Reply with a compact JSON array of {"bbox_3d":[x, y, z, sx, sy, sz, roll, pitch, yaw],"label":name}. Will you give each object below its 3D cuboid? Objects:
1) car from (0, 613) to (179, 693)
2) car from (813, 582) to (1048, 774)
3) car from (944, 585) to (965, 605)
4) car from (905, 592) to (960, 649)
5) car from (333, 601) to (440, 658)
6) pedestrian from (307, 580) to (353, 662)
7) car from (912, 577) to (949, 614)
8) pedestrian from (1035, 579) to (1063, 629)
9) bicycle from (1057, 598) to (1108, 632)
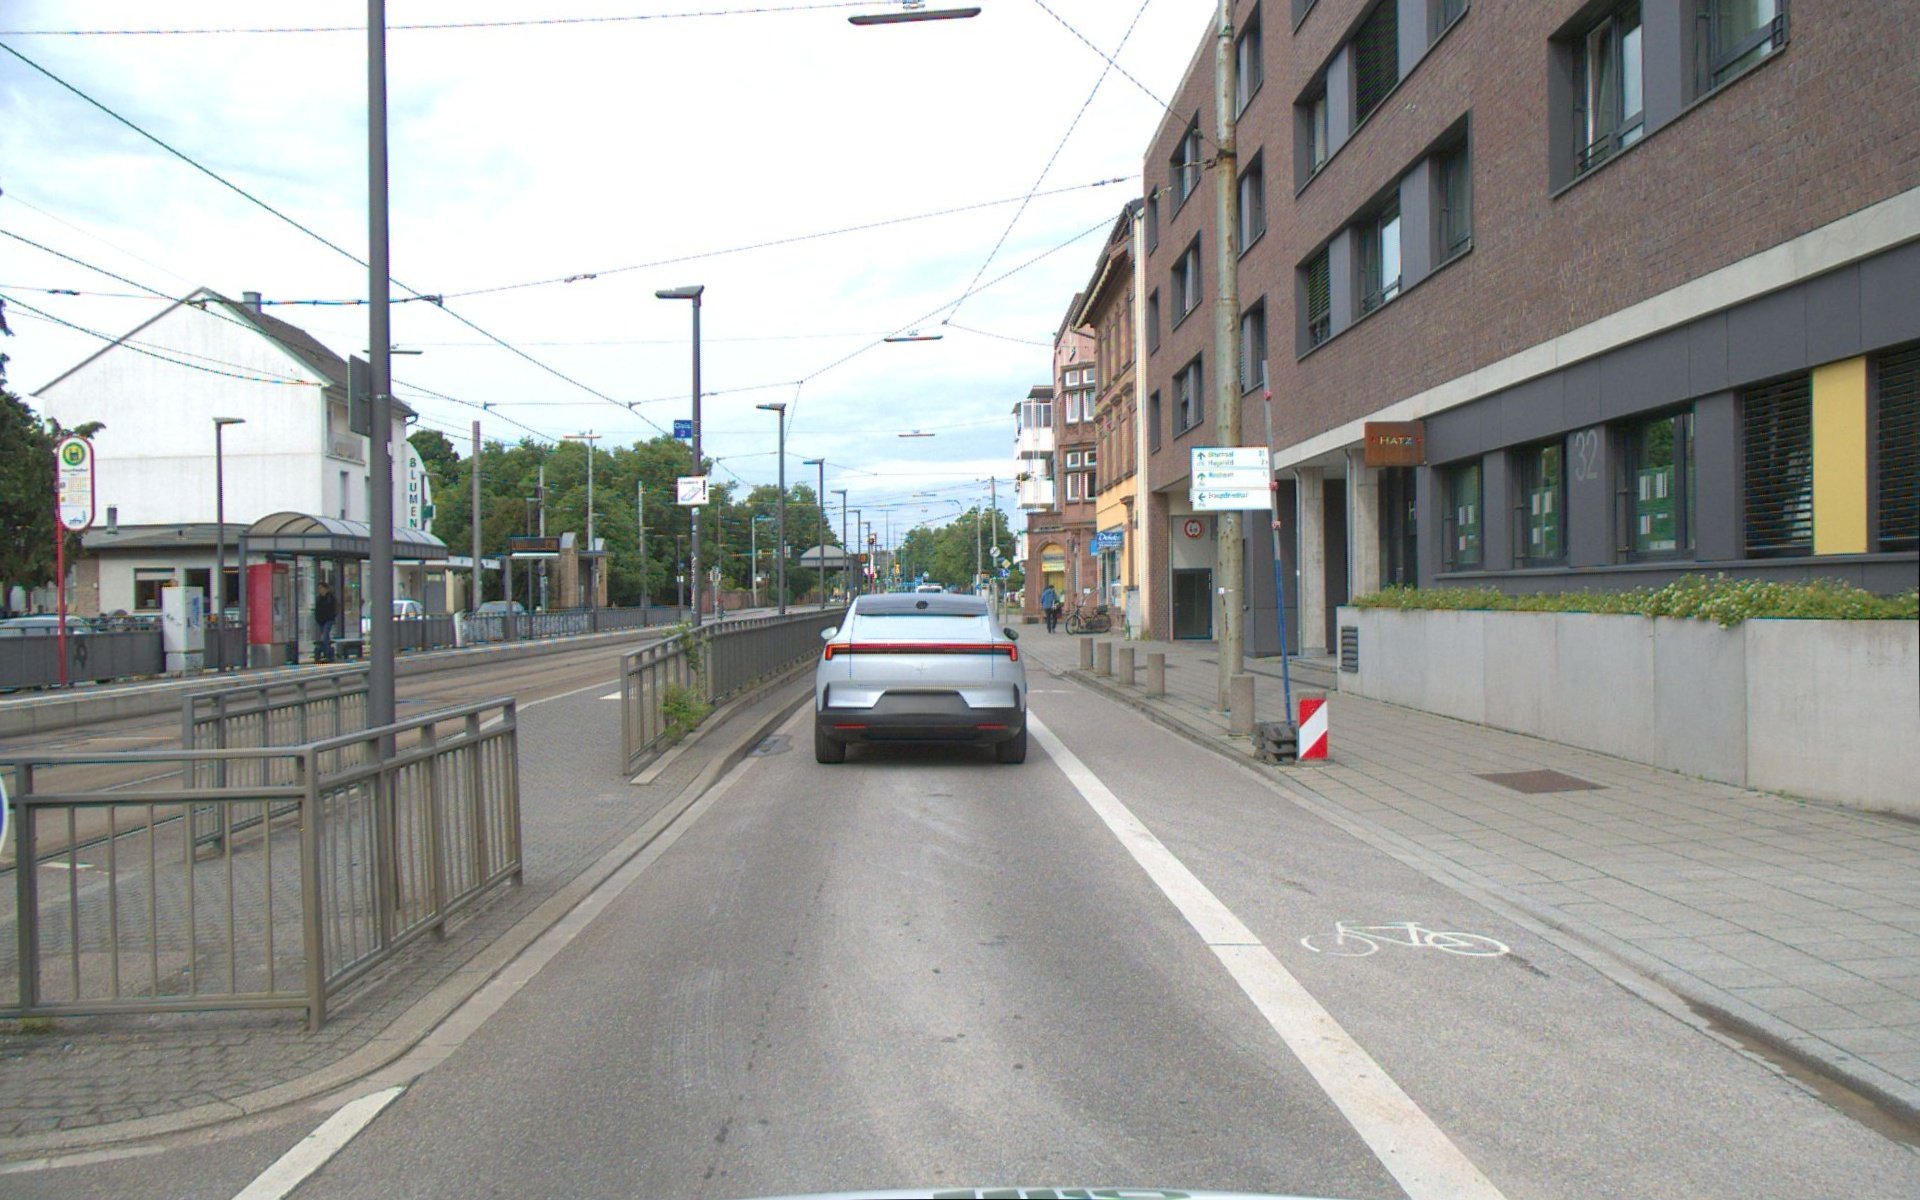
[{"bbox_3d":[-16.139,0.930,30.506,1.715,1.321,3.831,-2,0,-2],"label":"car"},{"bbox_3d":[-0.416,0.669,15.933,1.961,1.608,3.995,0,0,-6],"label":"car"},{"bbox_3d":[-0.721,-0.652,220.066,2.750,2.548,5.721,0,0,-1],"label":"car"},{"bbox_3d":[-0.857,0.618,51.413,1.647,1.717,3.823,0,0,-1],"label":"car"},{"bbox_3d":[-16.999,0.842,49.243,1.827,1.512,3.998,-3,0,-2],"label":"car"},{"bbox_3d":[-13.196,0.435,34.637,0.605,1.694,0.695,0,-1,35],"label":"pedestrian"},{"bbox_3d":[-2.037,-0.295,111.680,2.182,2.444,5.118,0,0,-5],"label":"car"},{"bbox_3d":[3.453,0.137,64.164,0.940,1.882,0.976,-3,1,5],"label":"pedestrian"},{"bbox_3d":[4.504,0.543,60.995,1.742,1.149,0.642,-3,0,-2],"label":"bicycle"}]
